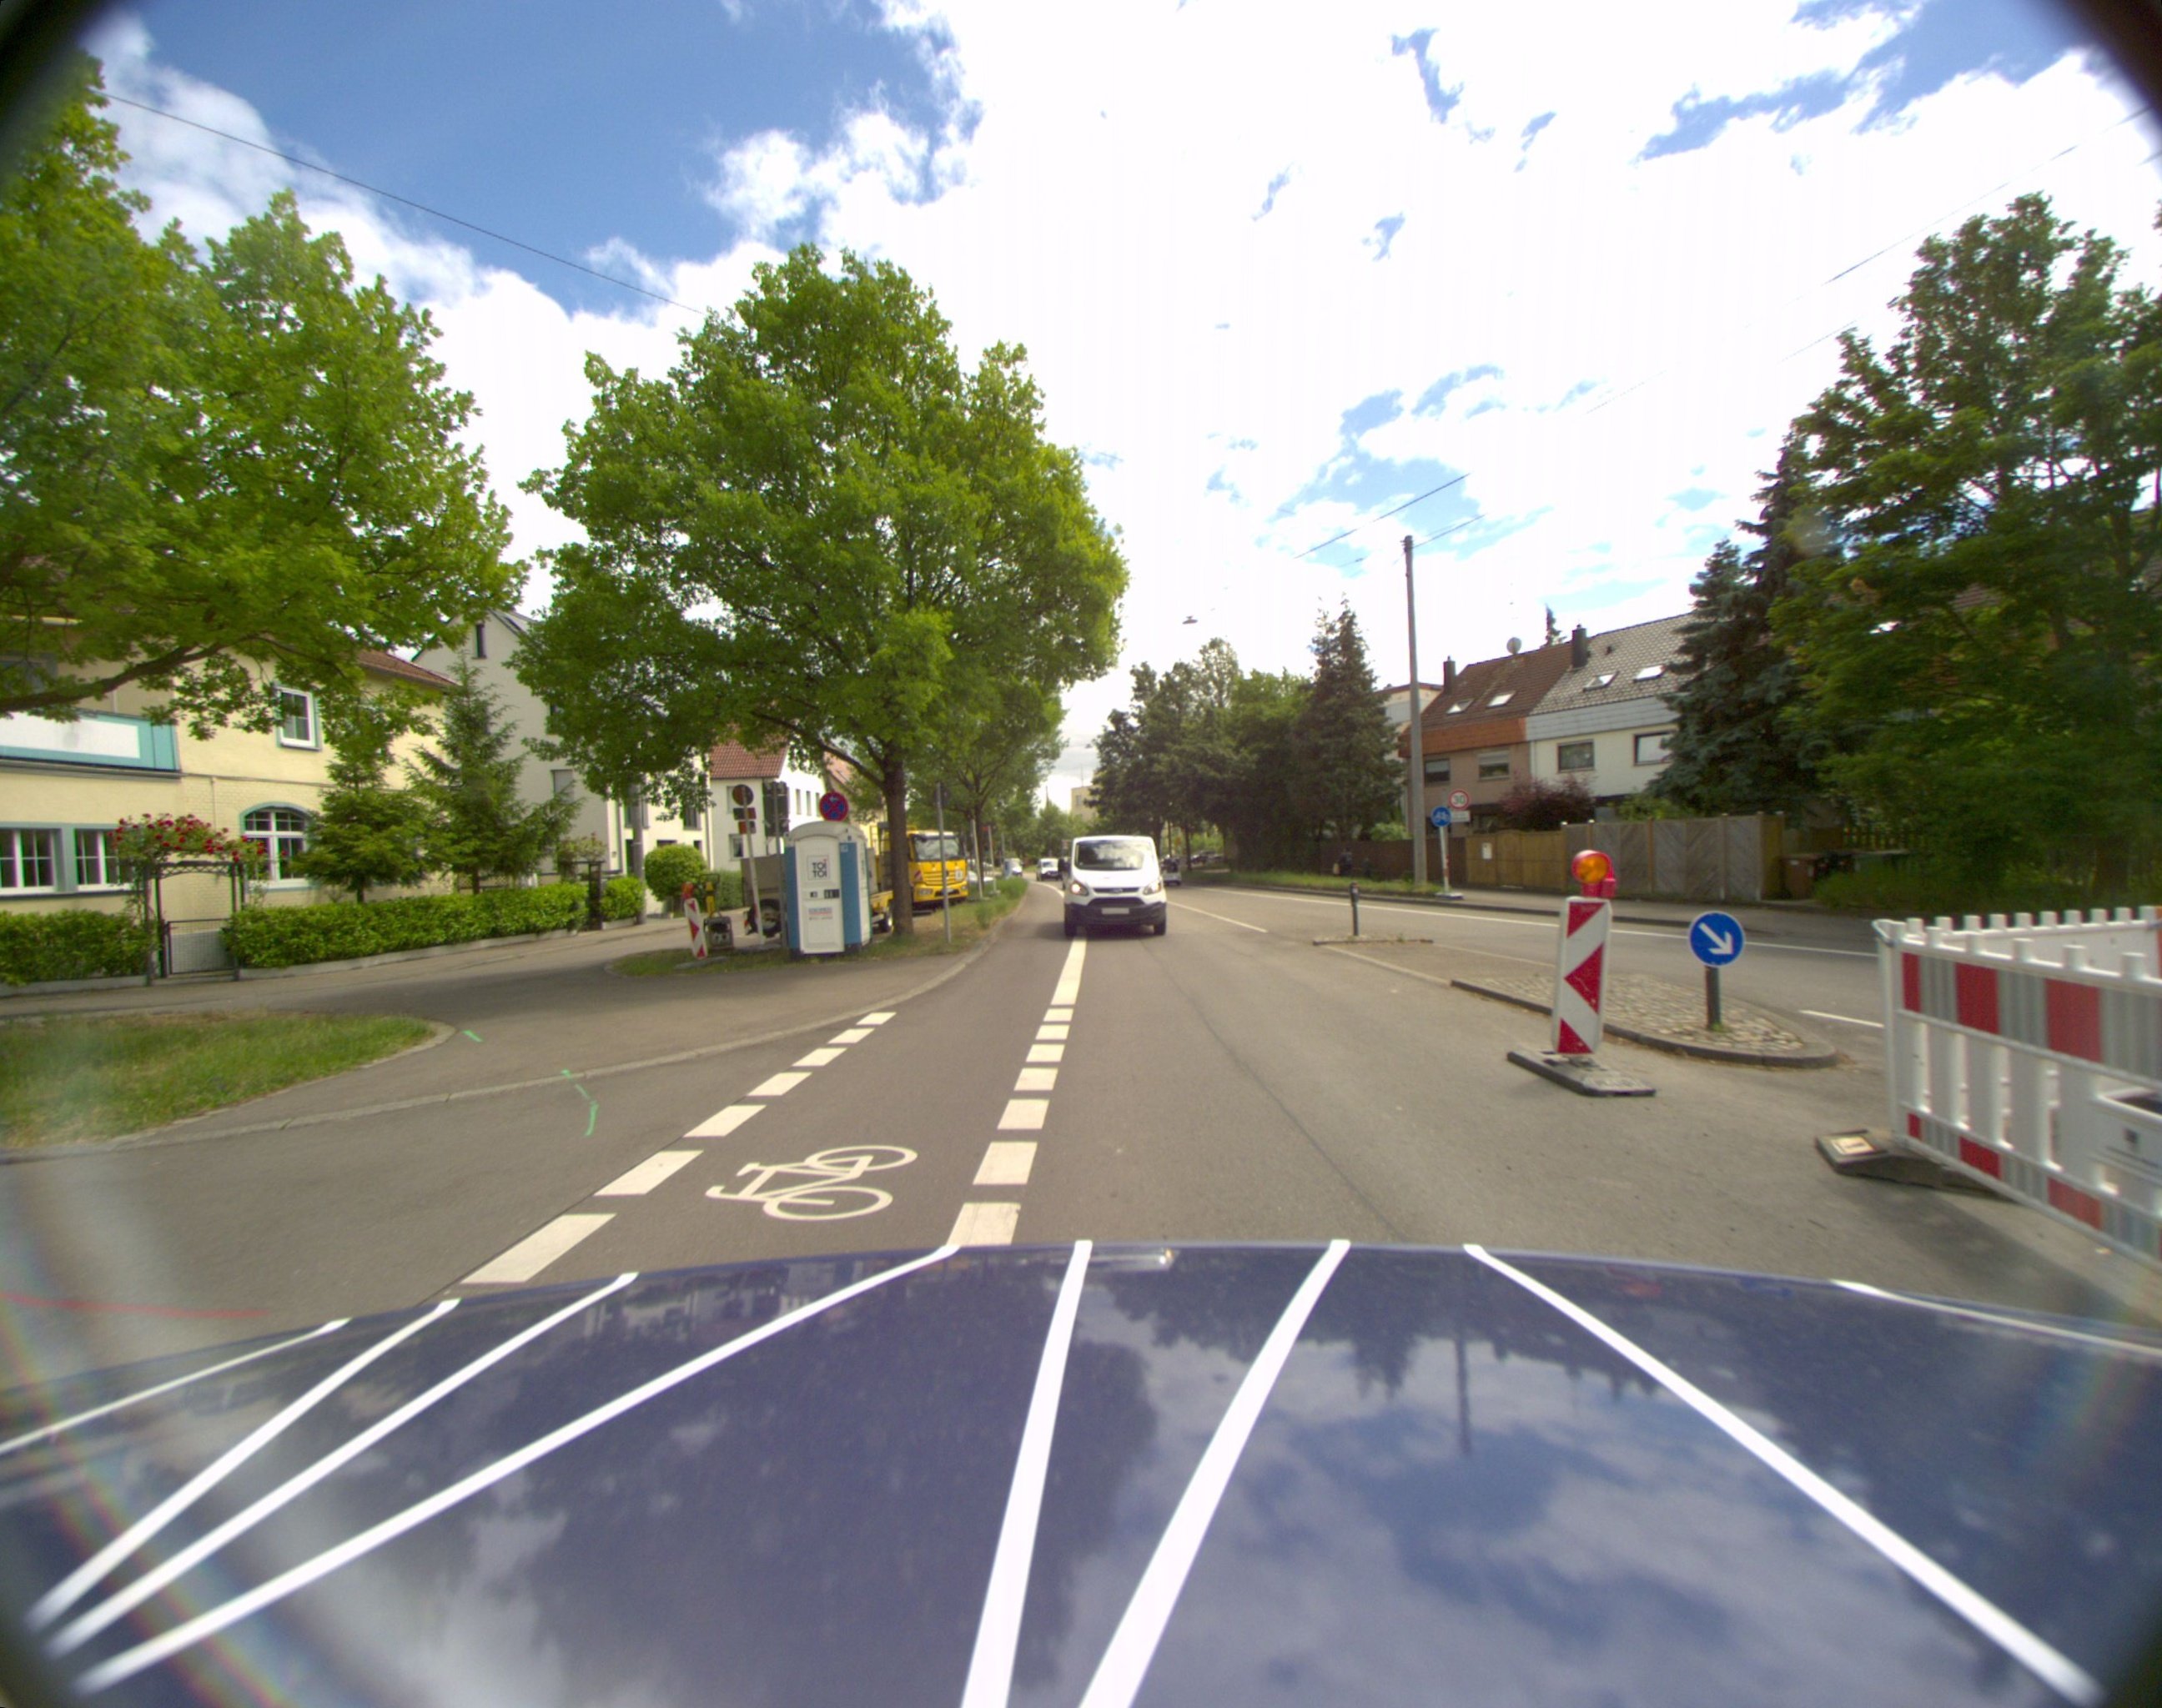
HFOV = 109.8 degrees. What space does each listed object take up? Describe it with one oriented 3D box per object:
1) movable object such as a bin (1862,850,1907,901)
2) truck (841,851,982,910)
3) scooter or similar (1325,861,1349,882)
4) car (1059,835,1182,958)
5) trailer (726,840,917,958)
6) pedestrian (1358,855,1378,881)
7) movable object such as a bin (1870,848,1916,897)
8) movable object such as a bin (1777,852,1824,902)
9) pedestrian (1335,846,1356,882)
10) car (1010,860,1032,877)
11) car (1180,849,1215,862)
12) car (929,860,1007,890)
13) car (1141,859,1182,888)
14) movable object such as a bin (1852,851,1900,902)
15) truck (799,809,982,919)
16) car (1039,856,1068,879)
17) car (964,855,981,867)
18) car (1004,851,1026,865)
[{"bbox_3d":[15.947,0.419,15.080,0.334,0.972,0.525,-1,1,-19],"label":"movable object such as a bin"},{"bbox_3d":[-6.726,1.078,29.711,5.942,2.001,2.004,-4,-1,39],"label":"truck"},{"bbox_3d":[11.041,0.737,32.815,0.638,0.859,1.030,-2,0,-3],"label":"scooter or similar"},{"bbox_3d":[0.594,0.675,15.803,1.999,2.002,5.511,-3,1,-2],"label":"car"},{"bbox_3d":[-5.947,0.921,18.457,2.599,2.232,5.673,-4,0,-1],"label":"trailer"},{"bbox_3d":[12.131,0.580,32.109,0.556,1.080,0.641,-2,1,-3],"label":"pedestrian"},{"bbox_3d":[16.301,0.363,15.259,0.379,0.972,0.525,-1,1,-19],"label":"movable object such as a bin"},{"bbox_3d":[14.722,0.459,15.557,0.477,1.005,0.495,-1,1,-7],"label":"movable object such as a bin"},{"bbox_3d":[11.132,0.417,31.975,0.556,1.472,0.641,-2,1,-3],"label":"pedestrian"},{"bbox_3d":[-6.431,1.521,81.492,2.000,1.652,3.997,-2,0,-9],"label":"car"},{"bbox_3d":[15.044,0.206,97.920,4.005,1.499,1.996,-3,0,-29],"label":"car"},{"bbox_3d":[-6.436,1.158,43.164,4.294,1.569,2.004,-1,1,40],"label":"car"},{"bbox_3d":[4.576,1.069,43.804,1.698,1.504,3.999,-1,0,-3],"label":"car"},{"bbox_3d":[15.607,0.427,14.927,0.372,0.972,0.547,-1,1,-19],"label":"movable object such as a bin"},{"bbox_3d":[-6.712,0.458,26.243,6.616,3.179,2.347,-6,-2,37],"label":"truck"},{"bbox_3d":[-2.252,1.094,61.549,2.000,1.719,4.101,-2,0,-6],"label":"car"},{"bbox_3d":[-17.734,1.132,123.761,2.001,1.719,4.098,-3,0,-18],"label":"car"},{"bbox_3d":[-9.097,0.569,104.207,2.001,1.719,4.098,-3,0,-18],"label":"car"}]
